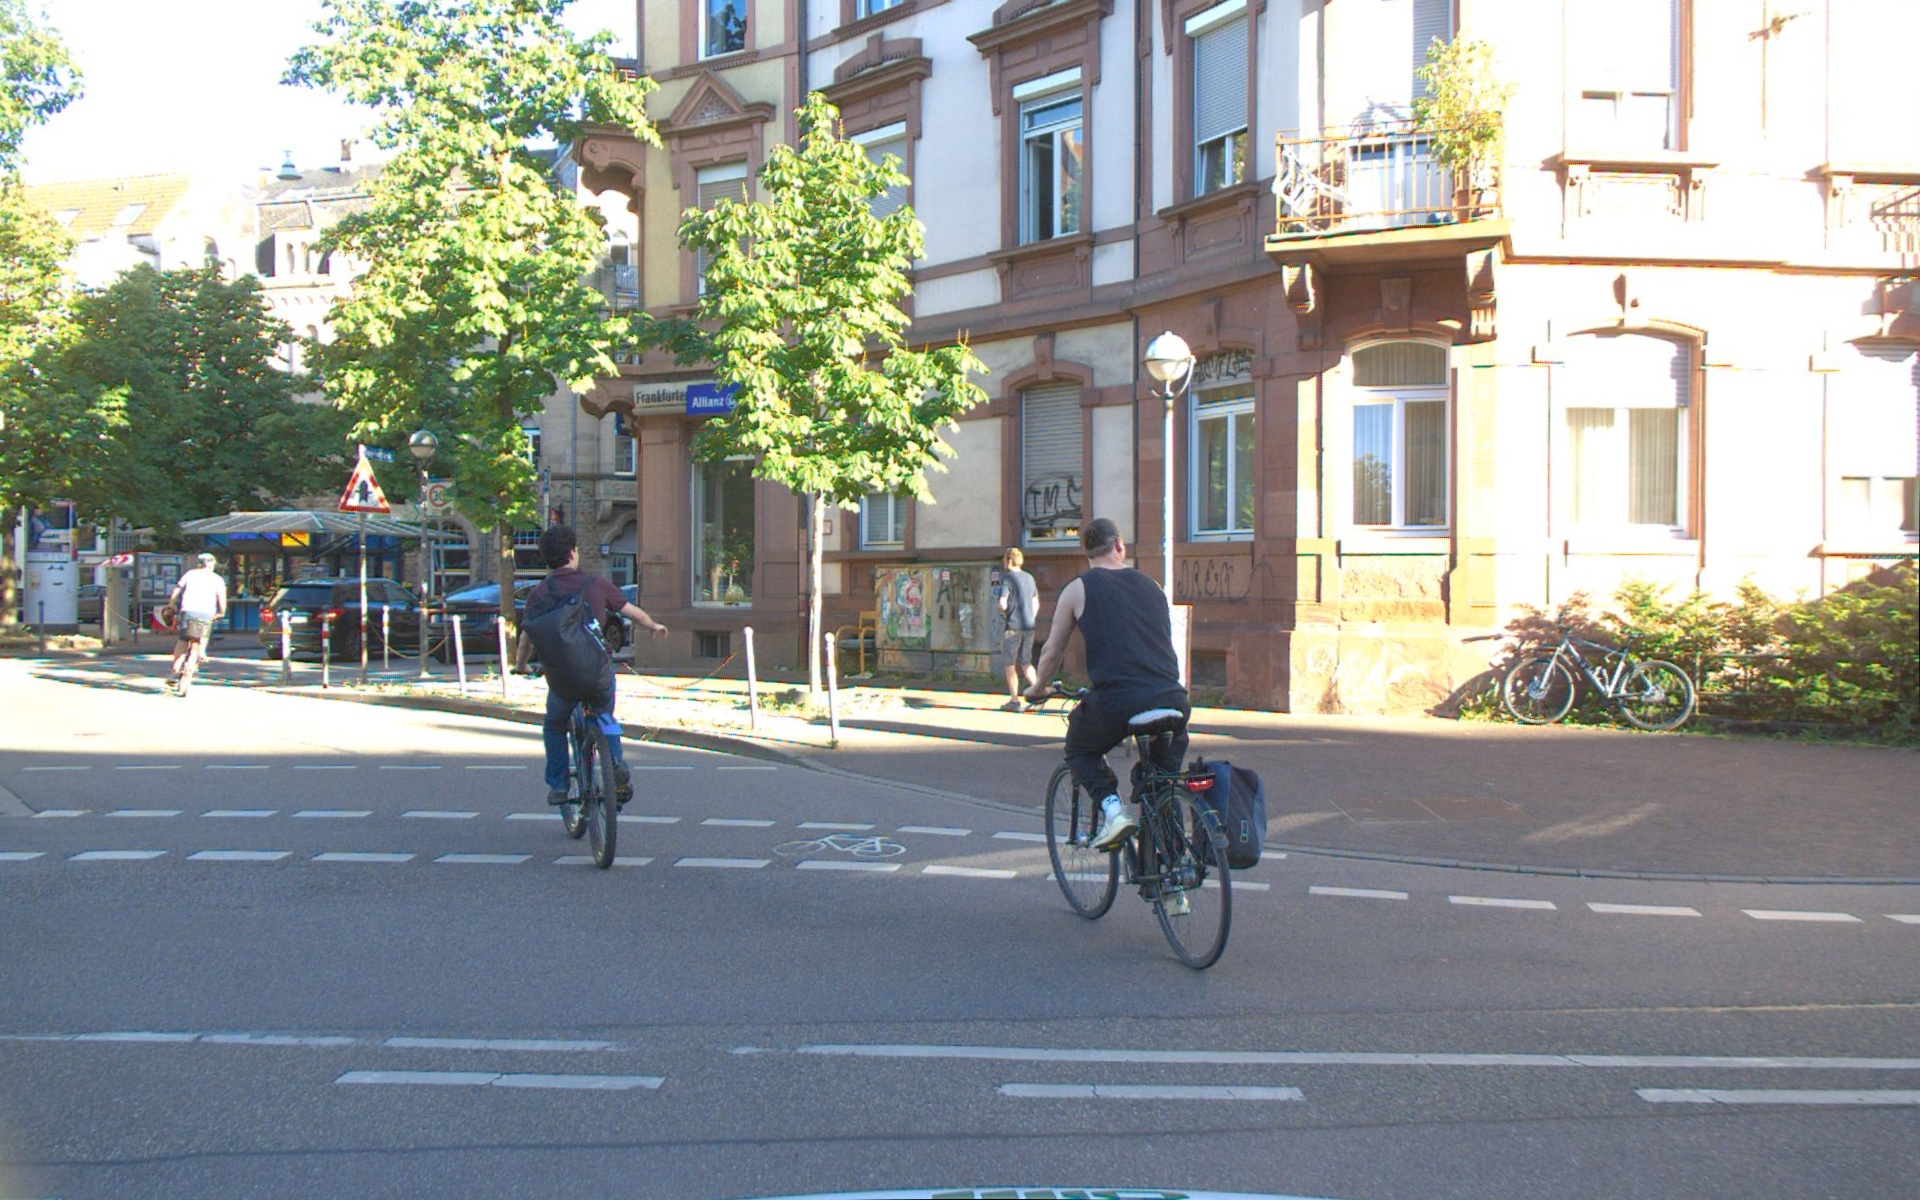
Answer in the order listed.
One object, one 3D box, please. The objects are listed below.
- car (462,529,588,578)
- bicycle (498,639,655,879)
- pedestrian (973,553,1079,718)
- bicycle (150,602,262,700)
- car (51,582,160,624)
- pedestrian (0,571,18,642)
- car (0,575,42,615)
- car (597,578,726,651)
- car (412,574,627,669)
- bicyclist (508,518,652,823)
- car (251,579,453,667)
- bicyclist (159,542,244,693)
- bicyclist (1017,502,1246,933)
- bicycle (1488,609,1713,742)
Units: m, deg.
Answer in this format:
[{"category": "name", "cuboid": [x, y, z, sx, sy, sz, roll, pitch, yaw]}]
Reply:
[{"category": "car", "cuboid": [-15.218, -1.624, 57.889, 3.904, 1.676, 1.879, 1, 1, 19]}, {"category": "bicycle", "cuboid": [-2.102, 0.818, 9.284, 0.704, 1.126, 1.963, 0, 1, -9]}, {"category": "pedestrian", "cuboid": [0.692, 0.348, 17.484, 0.718, 1.663, 0.893, -1, 3, -36]}, {"category": "bicycle", "cuboid": [-9.984, 0.637, 21.866, 0.805, 1.205, 2.194, 0, 0, -40]}, {"category": "car", "cuboid": [-32.290, 0.099, 62.514, 3.486, 1.525, 1.672, 1, -1, 19]}, {"category": "pedestrian", "cuboid": [-24.511, 0.150, 41.889, 0.862, 1.780, 0.717, 1, 0, 16]}, {"category": "car", "cuboid": [-37.485, -0.200, 63.866, 3.488, 1.525, 1.672, 1, -1, 21]}, {"category": "car", "cuboid": [-6.440, 0.281, 35.987, 1.469, 1.483, 3.209, 1, 1, 17]}, {"category": "car", "cuboid": [-8.179, 0.349, 31.169, 1.754, 1.639, 4.370, 0, 1, 20]}, {"category": "bicyclist", "cuboid": [-2.088, 0.365, 9.187, 0.693, 1.601, 0.955, 0, 0, -8]}, {"category": "car", "cuboid": [-11.562, 0.400, 31.736, 1.751, 1.569, 3.863, 1, 0, 14]}, {"category": "bicyclist", "cuboid": [-10.033, 0.221, 21.876, 0.789, 1.947, 0.931, 1, 0, -40]}, {"category": "bicyclist", "cuboid": [0.699, 0.460, 7.021, 0.674, 1.685, 0.986, 0, -1, -13]}, {"category": "bicycle", "cuboid": [6.056, 0.692, 15.697, 1.923, 1.126, 0.442, 2, 1, 29]}]
